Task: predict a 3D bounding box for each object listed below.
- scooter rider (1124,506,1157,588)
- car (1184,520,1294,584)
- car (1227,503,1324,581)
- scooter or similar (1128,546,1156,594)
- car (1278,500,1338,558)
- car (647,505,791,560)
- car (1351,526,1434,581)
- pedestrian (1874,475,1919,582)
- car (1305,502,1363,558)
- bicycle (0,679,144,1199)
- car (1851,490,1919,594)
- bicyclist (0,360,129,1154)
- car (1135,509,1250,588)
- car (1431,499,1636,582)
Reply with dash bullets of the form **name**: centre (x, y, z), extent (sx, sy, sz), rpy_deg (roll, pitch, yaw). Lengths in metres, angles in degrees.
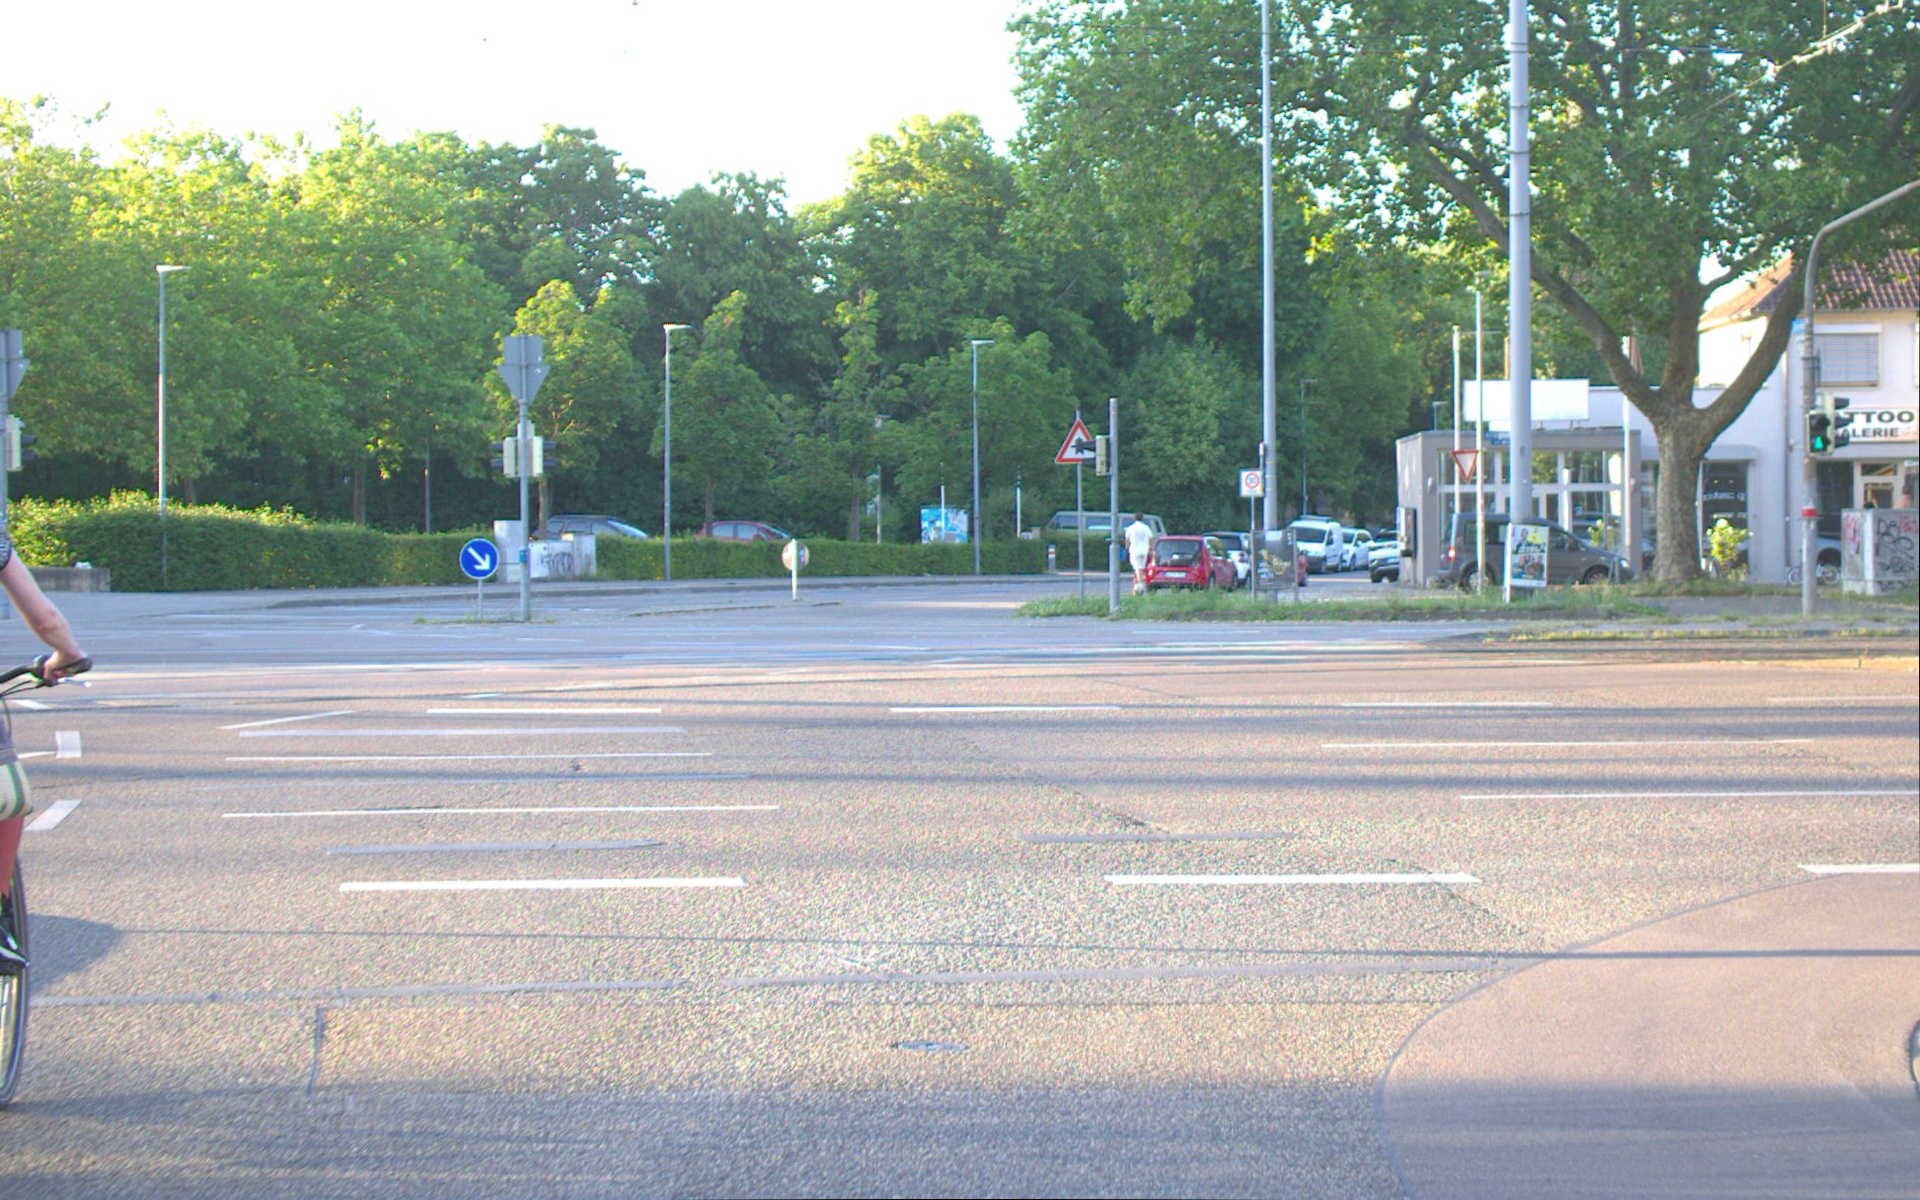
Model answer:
- **scooter rider**: centre (4.120, -1.206, 78.508), extent (0.702, 1.848, 0.669), rpy_deg (0, 0, -3)
- **car**: centre (7.189, -1.244, 88.193), extent (1.995, 1.568, 3.997), rpy_deg (0, 2, 17)
- **car**: centre (8.477, -1.585, 92.053), extent (1.916, 2.040, 3.997), rpy_deg (0, 2, 15)
- **scooter or similar**: centre (4.160, -0.692, 78.485), extent (0.510, 1.086, 1.243), rpy_deg (0, 1, -3)
- **car**: centre (12.141, -2.497, 120.055), extent (1.994, 2.007, 4.000), rpy_deg (0, 2, 5)
- **car**: centre (-6.826, -1.926, 97.738), extent (3.987, 1.555, 2.000), rpy_deg (0, 1, -1)
- **car**: centre (13.104, -1.415, 104.029), extent (1.916, 1.597, 3.997), rpy_deg (0, 2, 15)
- **pedestrian**: centre (15.585, -1.185, 57.029), extent (0.719, 1.748, 0.896), rpy_deg (0, 1, 22)
- **car**: centre (13.547, -2.550, 124.684), extent (1.994, 2.007, 4.000), rpy_deg (0, 2, 5)
- **bicycle**: centre (-2.401, 0.766, 7.895), extent (0.634, 1.064, 2.122), rpy_deg (0, 1, -3)
- **car**: centre (18.322, -1.046, 61.534), extent (4.230, 1.840, 2.000), rpy_deg (0, 1, 0)
- **bicyclist**: centre (-2.528, 0.329, 7.881), extent (1.031, 1.712, 0.996), rpy_deg (0, 1, -3)
- **car**: centre (5.729, -1.287, 84.341), extent (1.870, 1.868, 3.871), rpy_deg (1, 2, 19)
- **car**: centre (12.943, -1.360, 77.847), extent (4.377, 1.828, 1.949), rpy_deg (0, 1, 3)
